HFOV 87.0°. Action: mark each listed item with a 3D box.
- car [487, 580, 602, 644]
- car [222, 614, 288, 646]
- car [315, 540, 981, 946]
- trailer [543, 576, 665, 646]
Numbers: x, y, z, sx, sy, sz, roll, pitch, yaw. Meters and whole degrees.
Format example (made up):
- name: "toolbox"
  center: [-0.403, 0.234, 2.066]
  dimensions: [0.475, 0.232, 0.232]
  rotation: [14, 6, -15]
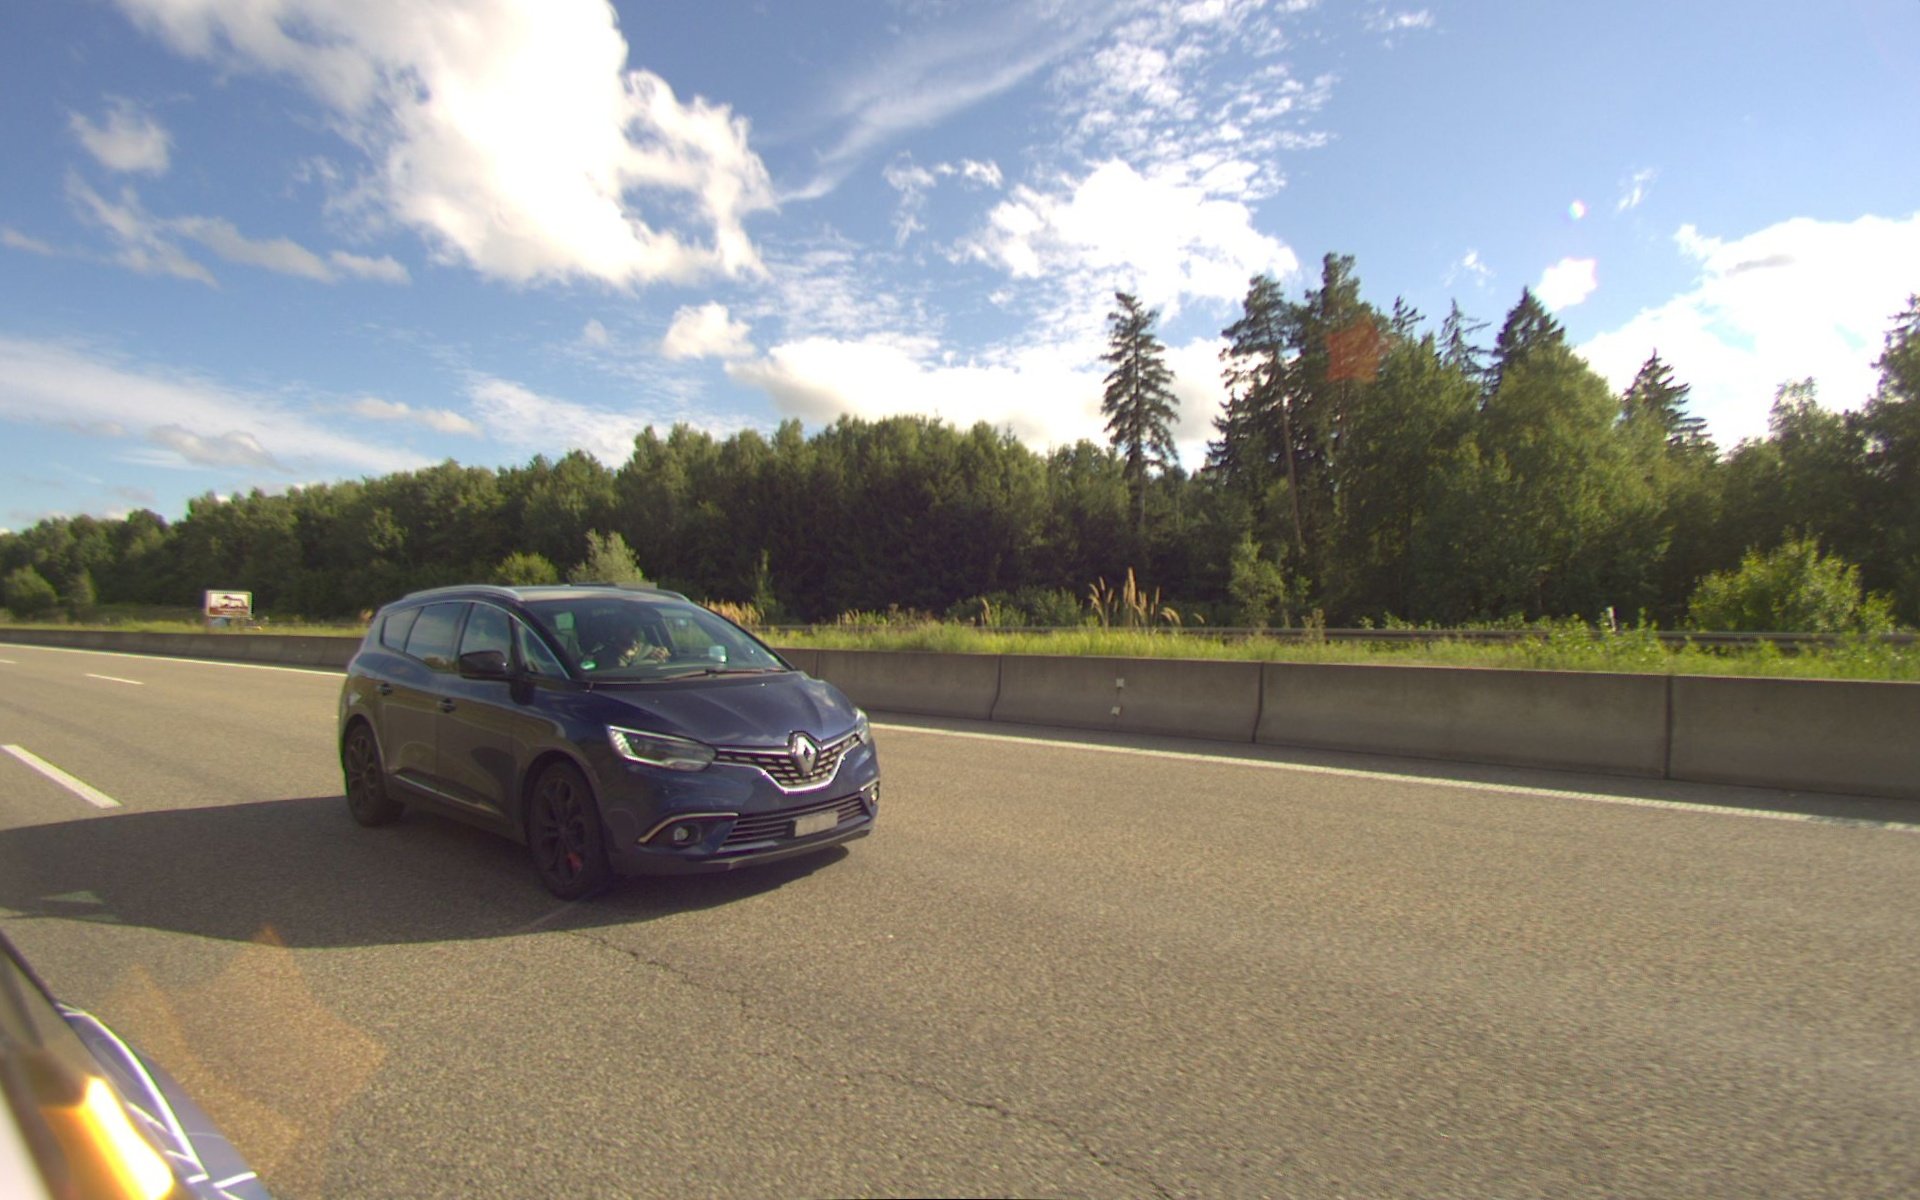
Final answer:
- name: "car"
  center: [-18.661, 0.546, 45.278]
  dimensions: [5.882, 2.704, 2.247]
  rotation: [-1, -1, 39]
- name: "car"
  center: [-35.239, 1.468, 50.575]
  dimensions: [3.572, 1.518, 1.869]
  rotation: [-1, -1, 40]
- name: "car"
  center: [-2.245, 0.636, 6.515]
  dimensions: [4.525, 1.719, 1.973]
  rotation: [-1, -1, 40]
- name: "trailer"
  center: [-14.879, 0.473, 42.153]
  dimensions: [5.557, 2.704, 2.247]
  rotation: [-1, -1, 39]
